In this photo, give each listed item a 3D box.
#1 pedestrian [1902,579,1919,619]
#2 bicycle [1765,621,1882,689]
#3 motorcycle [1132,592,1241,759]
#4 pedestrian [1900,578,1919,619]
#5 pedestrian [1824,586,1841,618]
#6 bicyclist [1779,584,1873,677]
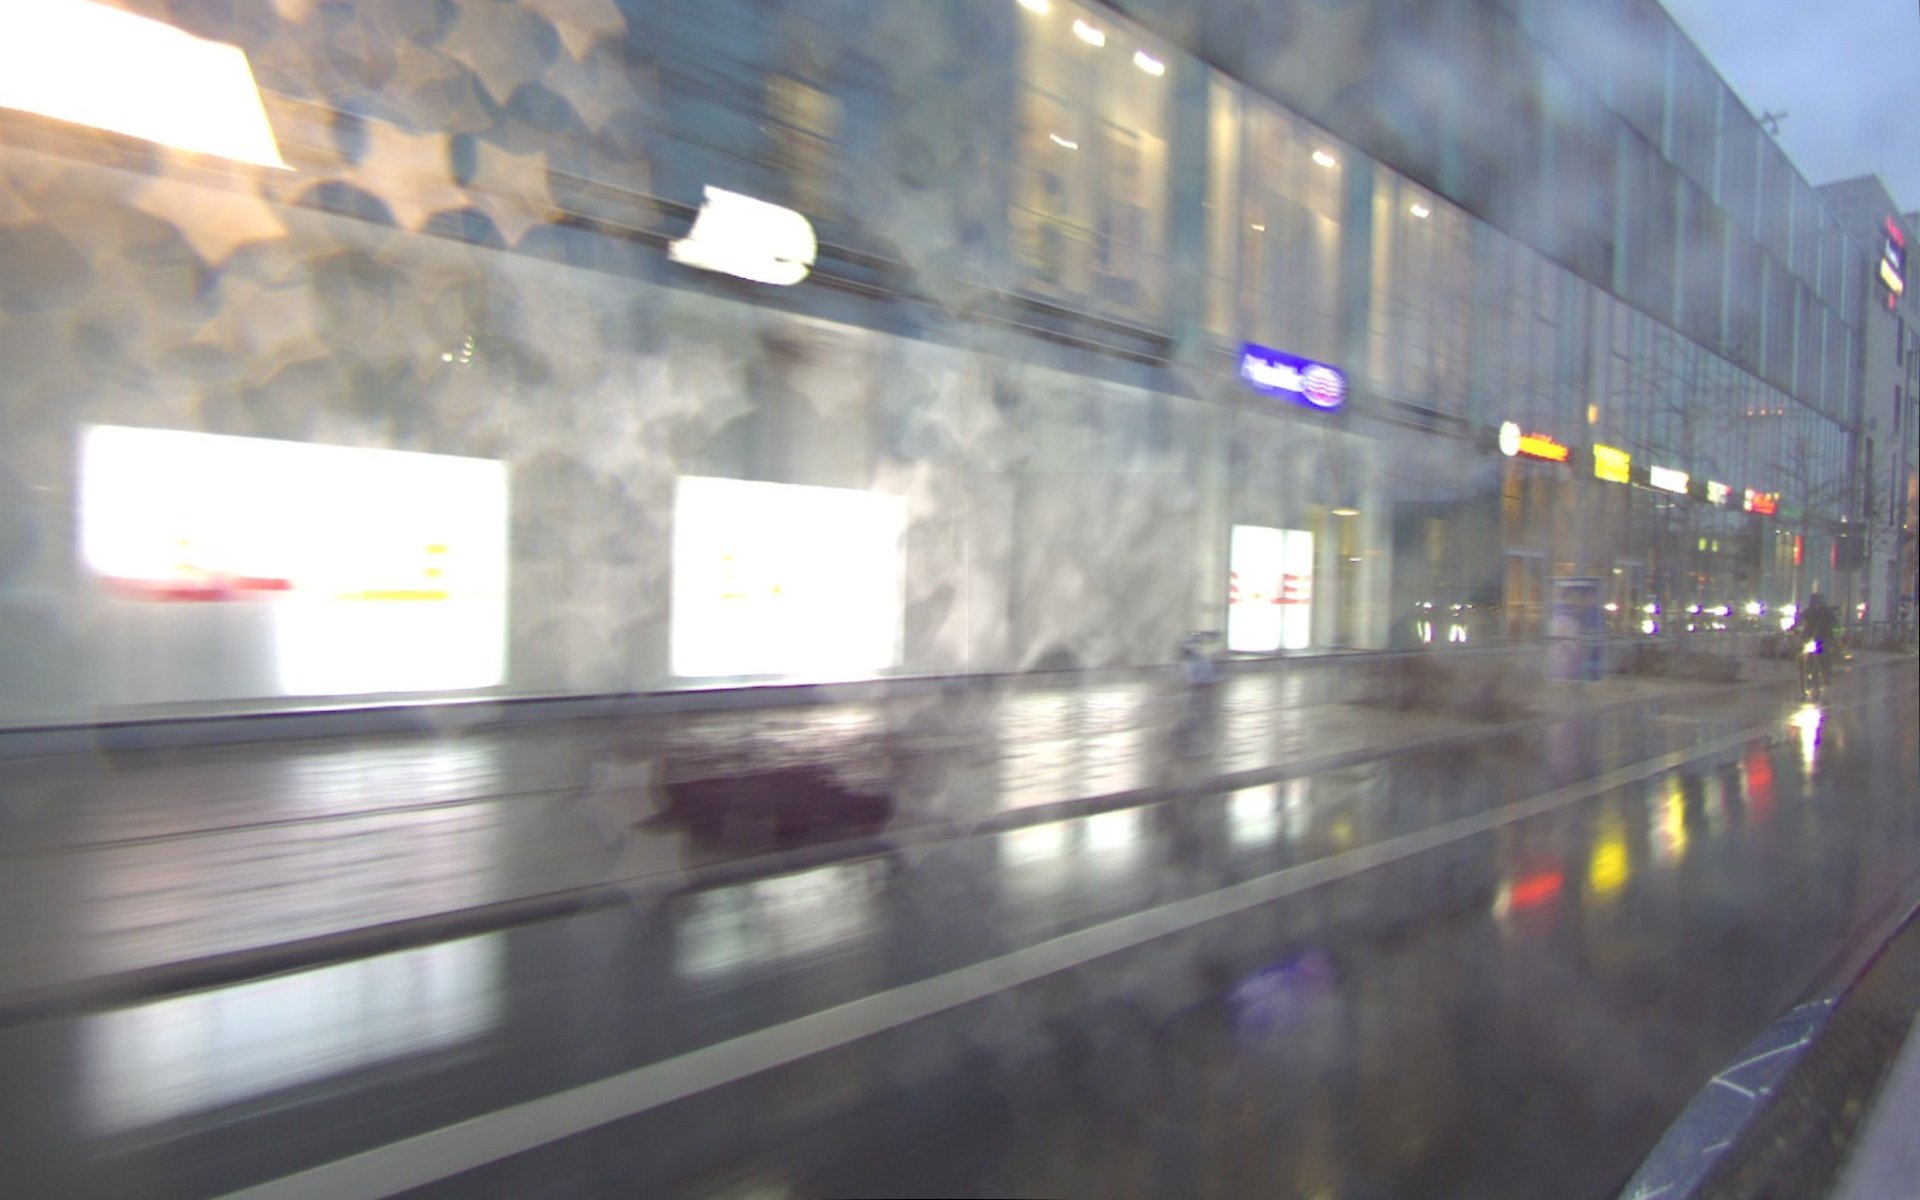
[{"bbox_3d":[53.388,-0.054,56.536,0.569,2.188,0.969,1,1,-27],"label":"pedestrian"},{"bbox_3d":[14.476,0.885,16.950,2.197,1.012,0.946,0,0,-34],"label":"bicycle"},{"bbox_3d":[2.073,0.632,9.500,0.584,1.350,1.910,0,2,1],"label":"motorcycle"},{"bbox_3d":[52.945,-0.077,56.158,0.696,2.219,0.963,1,1,-27],"label":"pedestrian"},{"bbox_3d":[49.895,0.134,57.890,0.612,1.828,0.616,1,0,-39],"label":"pedestrian"},{"bbox_3d":[14.471,0.483,16.913,1.046,1.481,0.946,0,0,-34],"label":"bicyclist"}]
